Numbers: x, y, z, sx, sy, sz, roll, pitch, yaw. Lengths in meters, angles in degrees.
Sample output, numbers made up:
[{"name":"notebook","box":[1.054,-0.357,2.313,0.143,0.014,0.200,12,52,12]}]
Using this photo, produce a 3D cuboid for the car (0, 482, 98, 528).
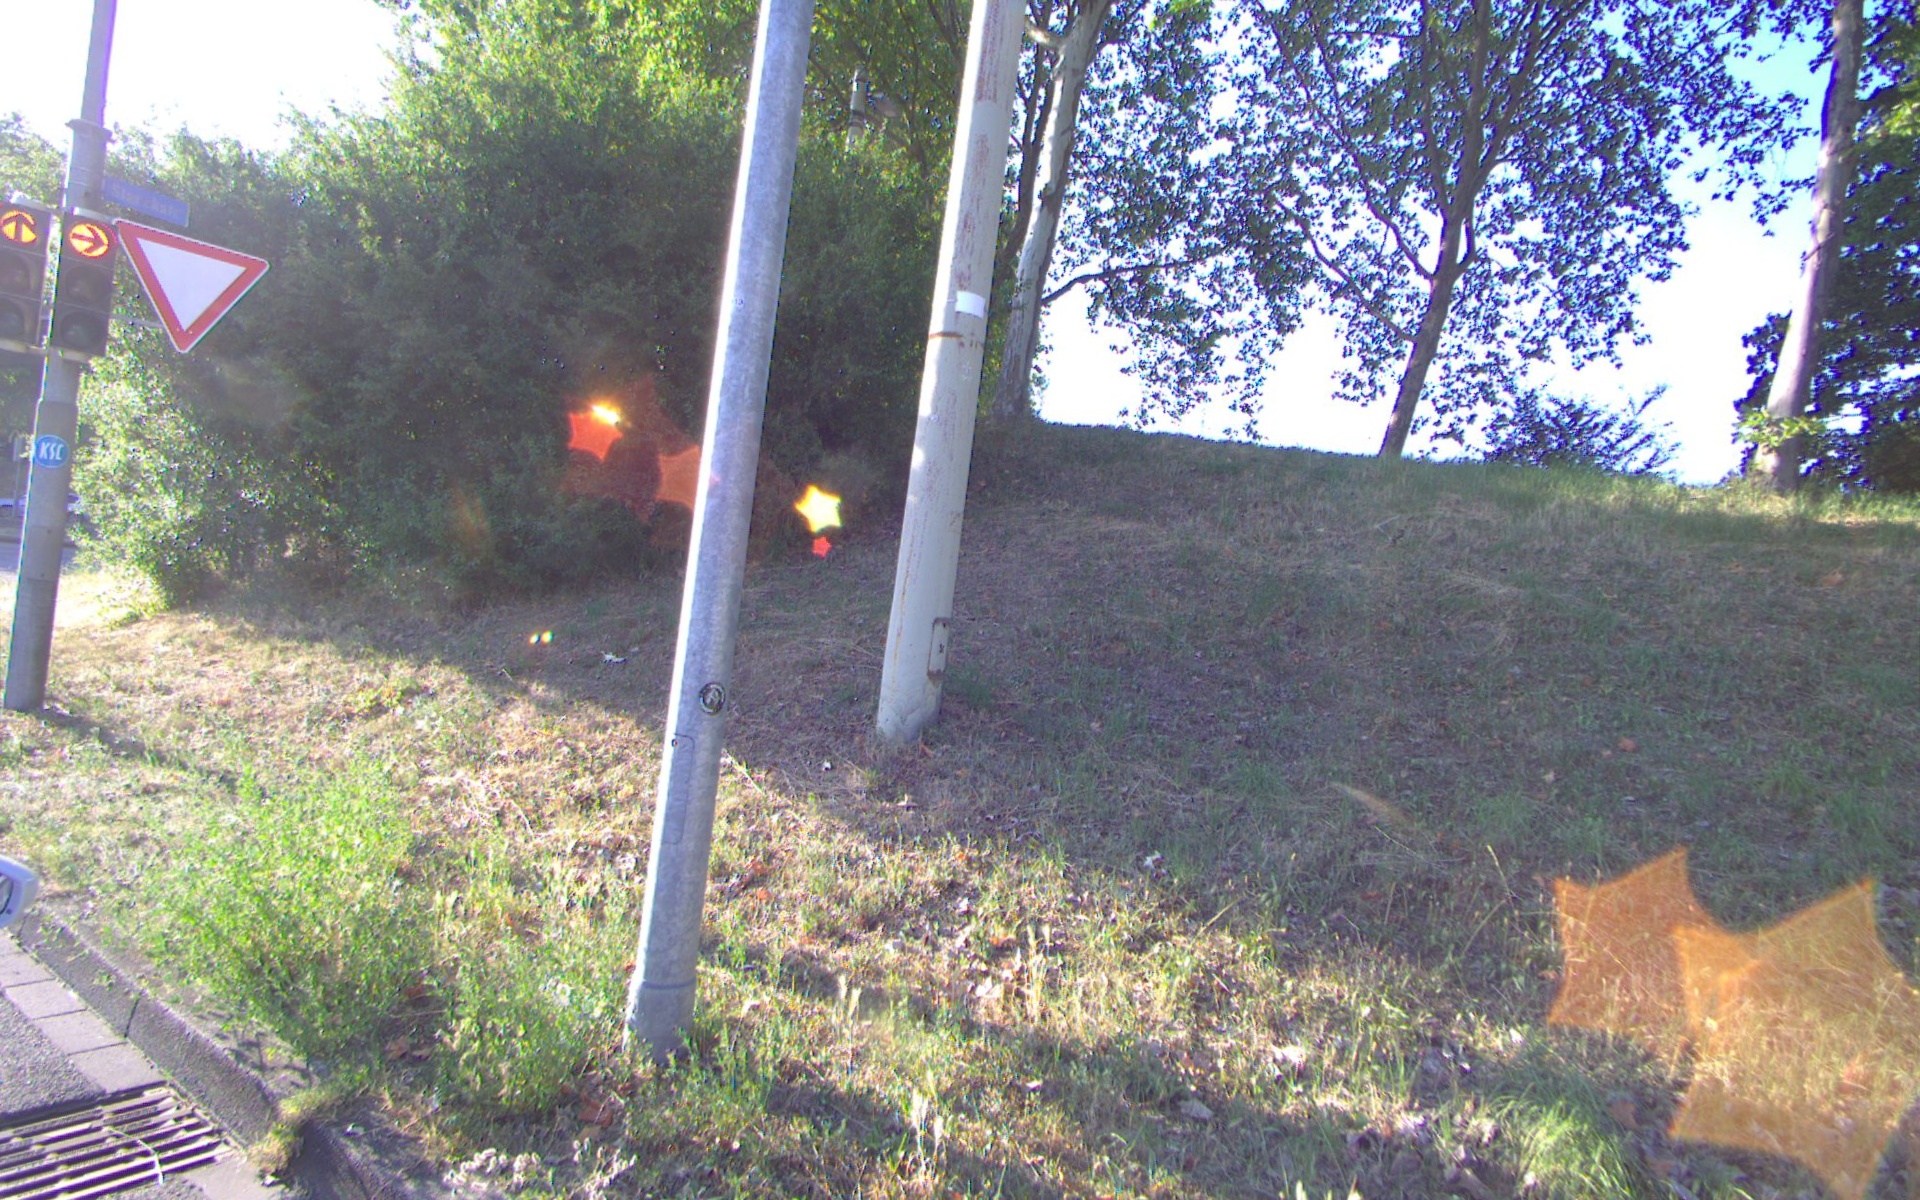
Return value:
[{"name":"car","box":[-47.451,-4.911,51.810,1.686,1.672,4.218,7,-1,25]}]

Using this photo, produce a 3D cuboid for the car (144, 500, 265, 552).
[{"name":"car","box":[-39.107,-3.774,52.243,1.962,1.928,4.710,7,-1,12]}]

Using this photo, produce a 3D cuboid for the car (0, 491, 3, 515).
[{"name":"car","box":[-44.195,-4.365,43.447,1.664,1.439,3.737,7,-1,13]}]
